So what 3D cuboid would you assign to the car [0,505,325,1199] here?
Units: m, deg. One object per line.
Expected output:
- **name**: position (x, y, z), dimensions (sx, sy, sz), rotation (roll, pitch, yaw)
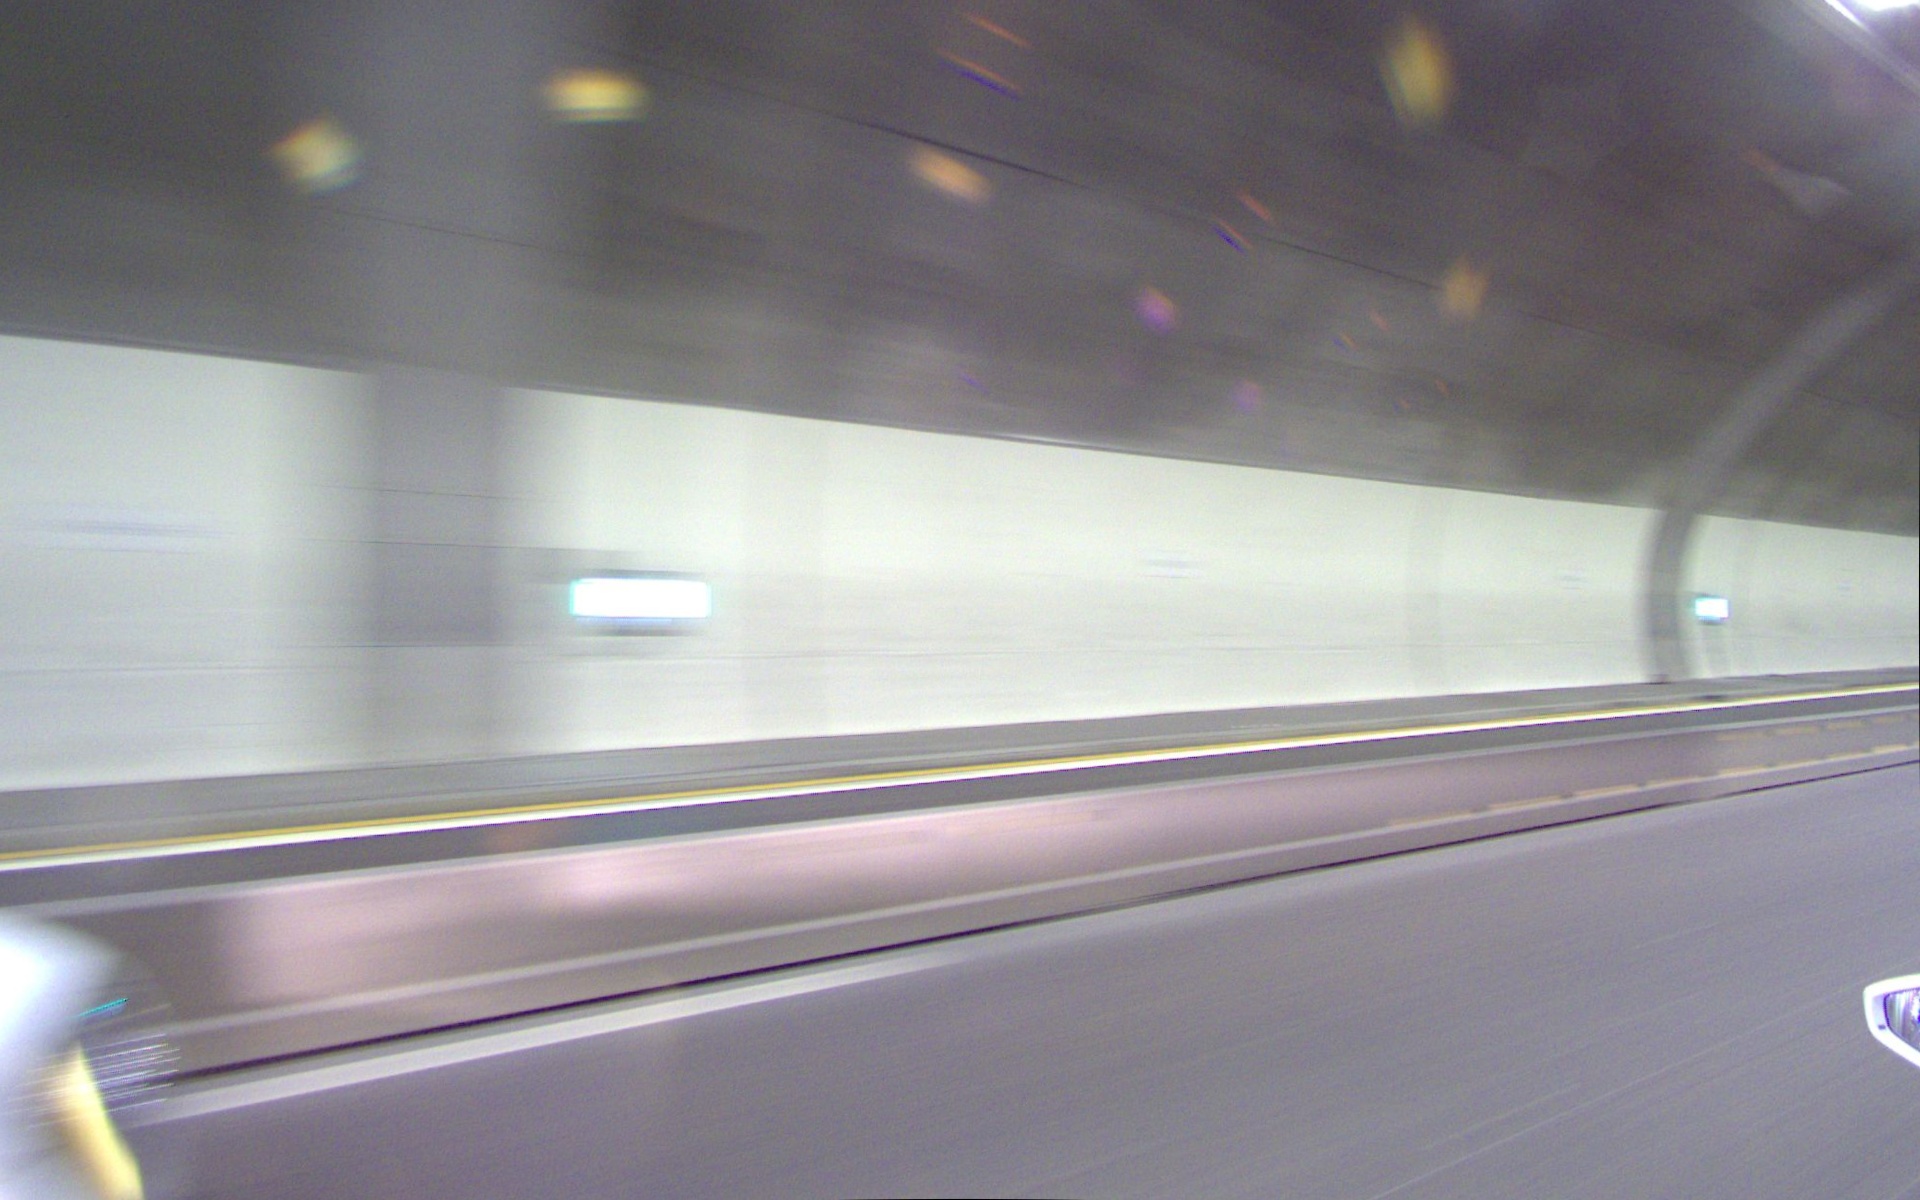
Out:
- **car**: position (-3.337, 0.649, 0.616), dimensions (4.886, 1.504, 1.894), rotation (1, -1, -31)
